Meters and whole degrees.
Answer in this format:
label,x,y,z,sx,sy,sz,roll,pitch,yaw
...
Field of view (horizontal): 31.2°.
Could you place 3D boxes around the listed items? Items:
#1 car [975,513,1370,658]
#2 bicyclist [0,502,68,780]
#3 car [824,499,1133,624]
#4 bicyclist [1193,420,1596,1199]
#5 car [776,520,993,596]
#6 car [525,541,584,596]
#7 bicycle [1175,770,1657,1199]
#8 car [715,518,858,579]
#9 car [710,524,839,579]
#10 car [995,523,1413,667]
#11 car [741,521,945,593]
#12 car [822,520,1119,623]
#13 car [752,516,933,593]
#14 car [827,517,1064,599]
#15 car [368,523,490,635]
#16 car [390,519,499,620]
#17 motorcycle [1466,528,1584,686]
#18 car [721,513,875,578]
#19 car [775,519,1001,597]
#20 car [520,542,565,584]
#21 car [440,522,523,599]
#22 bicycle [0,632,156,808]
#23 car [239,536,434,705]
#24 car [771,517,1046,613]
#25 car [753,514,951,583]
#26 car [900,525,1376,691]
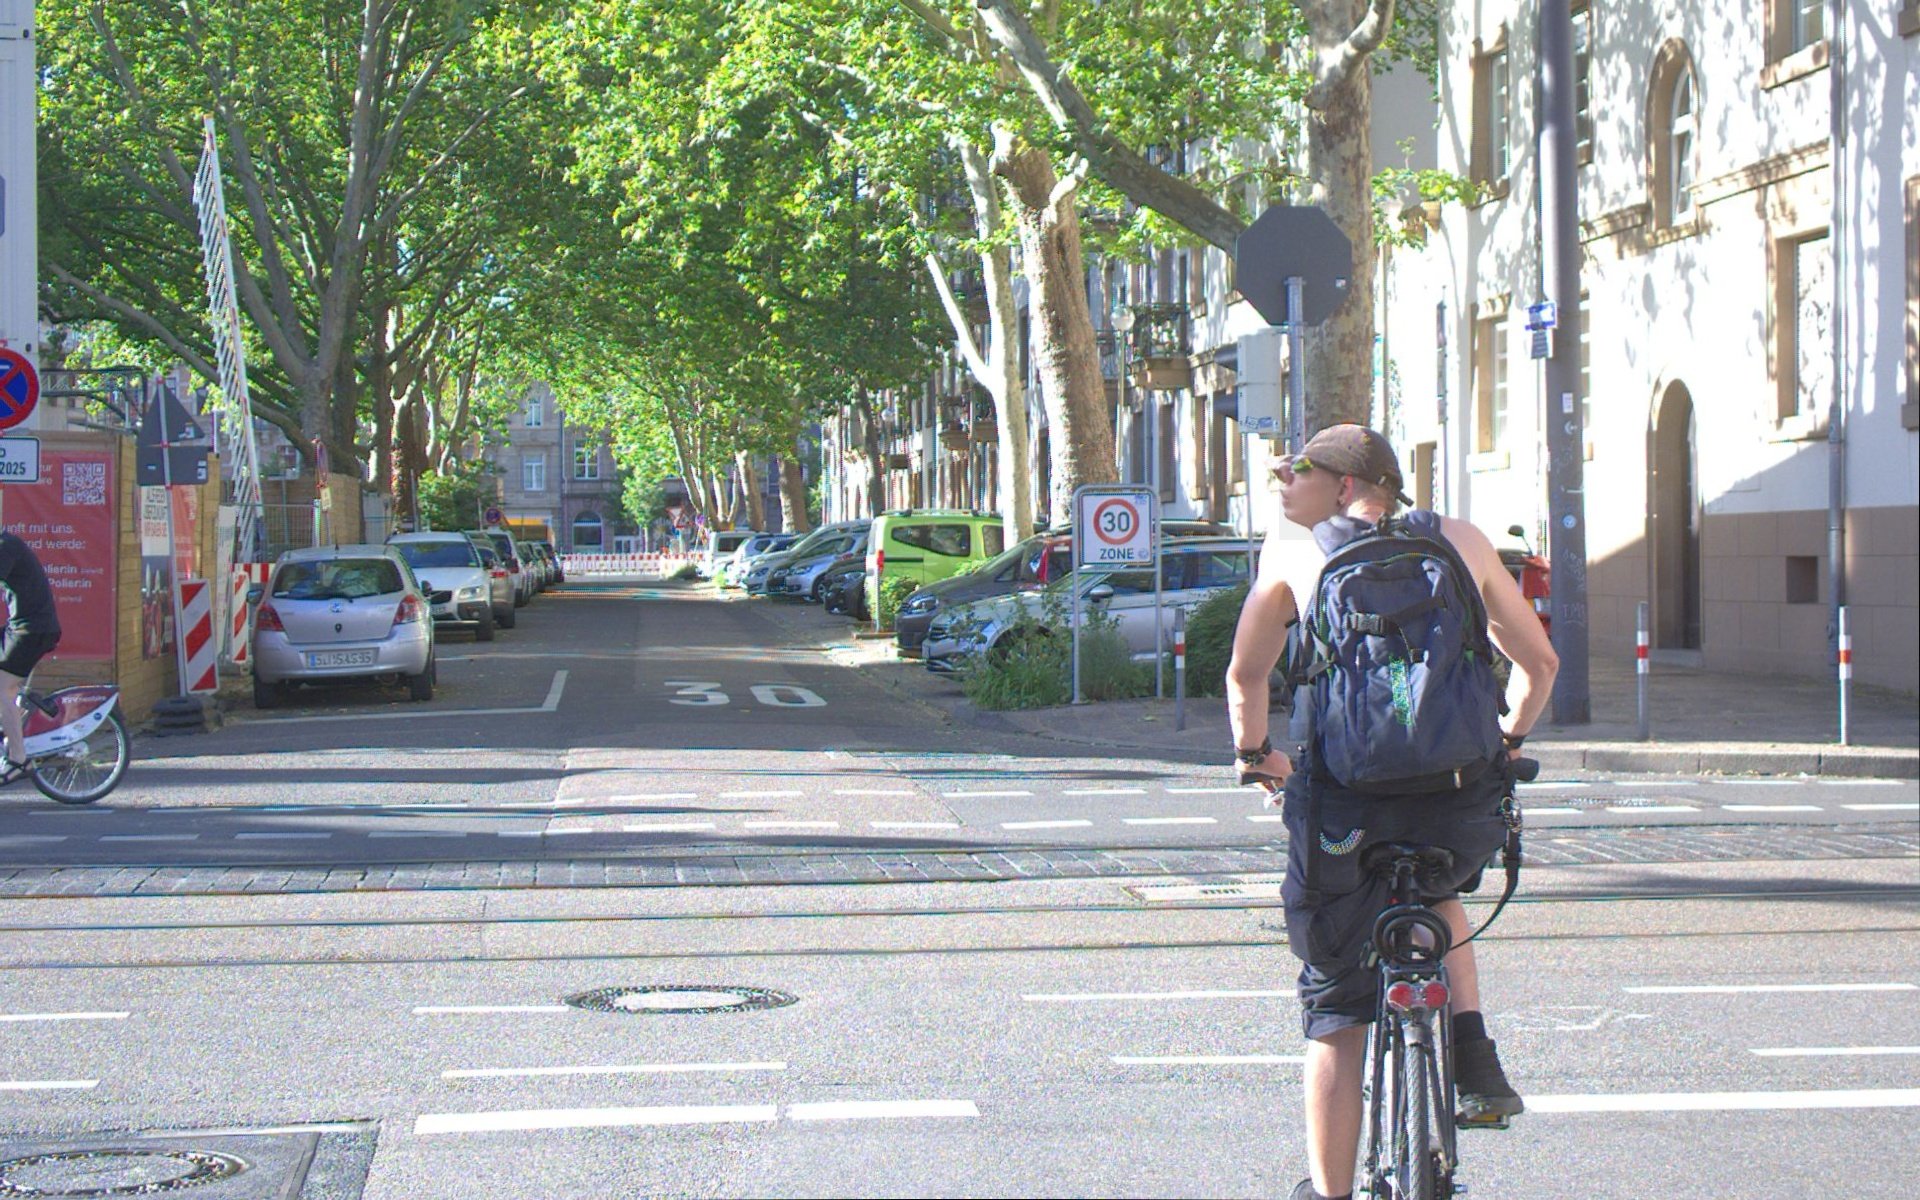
label,x,y,z,sx,sy,sz,roll,pitch,yaw
car,2.502,-0.189,40.989,4.460,1.665,1.729,0,1,-7
bicyclist,-5.874,0.239,20.806,0.809,1.652,0.682,-1,1,-24
car,0.254,-0.602,51.880,4.460,1.830,1.729,0,1,-7
bicyclist,0.824,0.422,6.682,0.676,1.508,0.669,1,1,1
car,-1.618,-0.905,72.836,4.460,1.565,1.729,0,1,-7
car,-12.061,-0.952,102.053,1.665,1.557,4.220,0,1,-8
bicycle,0.812,0.906,6.636,0.689,1.013,1.907,1,1,1
car,-5.568,-1.660,110.053,4.460,1.891,1.729,0,1,-7
car,-6.602,-1.734,121.946,4.460,1.891,1.729,0,1,-7
car,2.726,-0.083,38.915,4.460,1.565,1.729,0,1,-7
car,-2.656,-0.979,77.526,4.460,1.565,1.729,0,1,-7
car,0.139,-0.468,53.898,4.460,1.565,1.729,0,1,-7
car,-3.001,-1.162,87.178,4.460,1.891,1.729,0,1,-7
car,-0.299,-0.837,67.257,4.460,1.565,1.729,0,1,-7
car,-7.701,-0.338,50.069,1.665,1.557,4.001,0,1,-8
car,-8.320,-0.530,55.736,1.665,1.557,4.520,0,1,-8
motorcycle,4.933,0.039,30.103,0.513,1.328,1.764,0,1,-8
car,-4.851,-1.640,102.653,4.460,1.891,1.729,0,1,-7
car,-1.493,-0.872,70.361,4.460,1.565,1.729,0,1,-7
car,-16.131,-1.432,132.826,1.665,1.557,4.220,0,1,-8
car,-10.065,-0.863,72.405,1.665,1.557,4.617,0,1,-8
bicycle,-5.903,0.728,20.801,1.915,1.015,0.682,-1,1,-24
car,-6.111,0.149,34.016,1.643,1.489,4.001,-3,2,-7
car,-0.891,-0.606,57.756,4.460,1.565,1.729,0,1,-7
car,-2.515,-1.198,79.867,4.460,1.565,1.729,0,1,-7
car,1.718,0.057,33.970,4.460,1.565,1.729,0,1,-7
